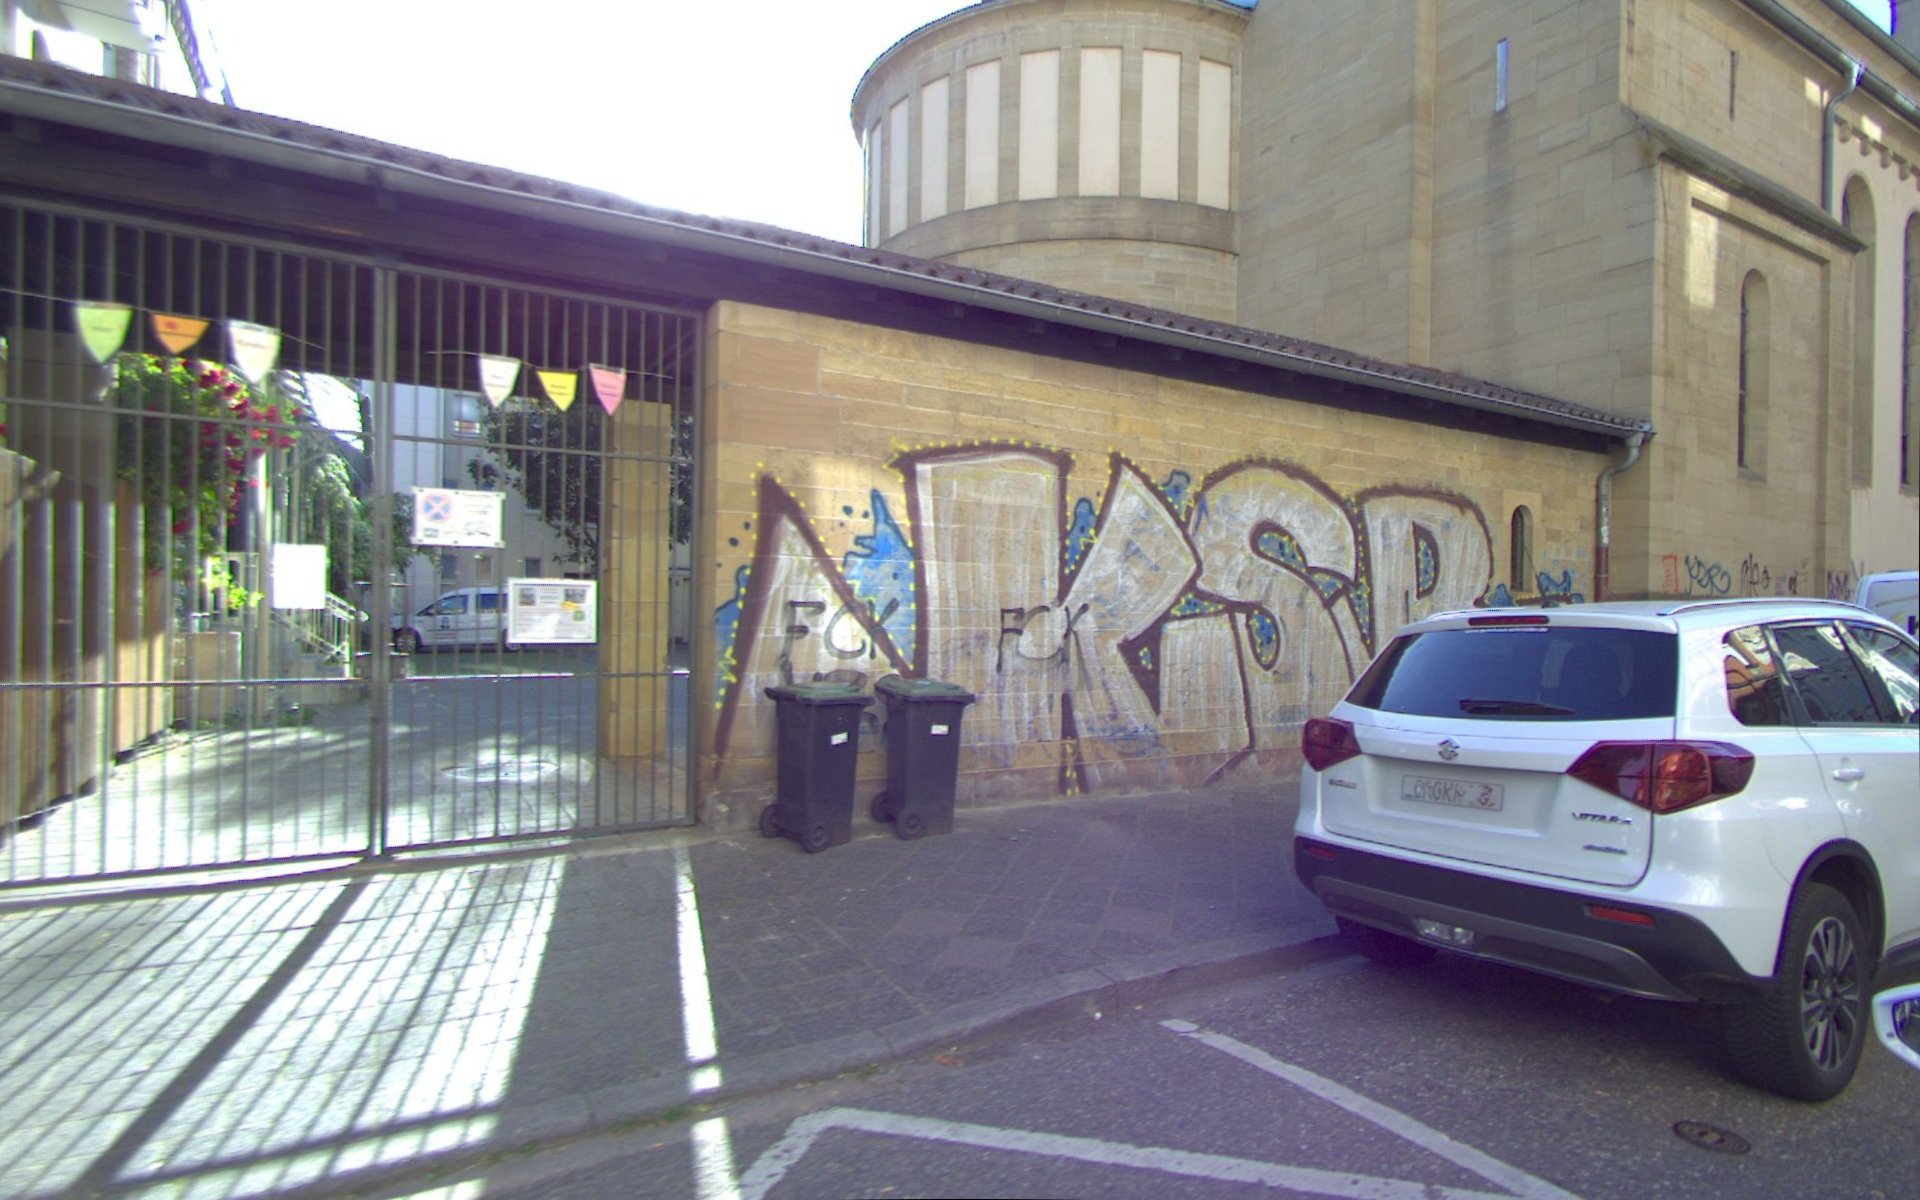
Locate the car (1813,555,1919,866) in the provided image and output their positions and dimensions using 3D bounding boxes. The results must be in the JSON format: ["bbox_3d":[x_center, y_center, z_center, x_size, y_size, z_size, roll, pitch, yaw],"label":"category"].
[{"bbox_3d":[8.268,0.742,7.247,4.557,1.983,1.855,1,-2,-31],"label":"car"}]

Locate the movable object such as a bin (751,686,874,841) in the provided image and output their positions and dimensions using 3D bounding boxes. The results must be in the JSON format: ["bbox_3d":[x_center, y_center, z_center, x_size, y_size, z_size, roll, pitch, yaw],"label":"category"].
[{"bbox_3d":[-0.875,0.938,5.927,0.583,0.818,0.451,1,0,-30],"label":"movable object such as a bin"}]

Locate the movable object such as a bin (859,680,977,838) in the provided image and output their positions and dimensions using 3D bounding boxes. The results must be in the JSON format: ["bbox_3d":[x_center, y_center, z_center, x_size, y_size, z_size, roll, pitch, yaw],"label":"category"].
[{"bbox_3d":[-0.266,0.965,6.266,0.564,0.887,0.479,1,0,-30],"label":"movable object such as a bin"}]

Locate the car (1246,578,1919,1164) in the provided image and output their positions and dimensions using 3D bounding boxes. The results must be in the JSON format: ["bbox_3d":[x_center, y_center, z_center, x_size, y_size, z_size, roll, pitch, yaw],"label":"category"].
[{"bbox_3d":[3.303,0.780,4.479,3.823,1.607,1.734,1,0,-30],"label":"car"}]

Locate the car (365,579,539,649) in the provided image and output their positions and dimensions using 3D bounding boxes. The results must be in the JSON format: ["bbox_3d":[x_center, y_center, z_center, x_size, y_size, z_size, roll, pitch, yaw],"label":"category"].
[{"bbox_3d":[-14.090,0.408,28.078,4.192,1.827,1.957,1,0,-26],"label":"car"}]
